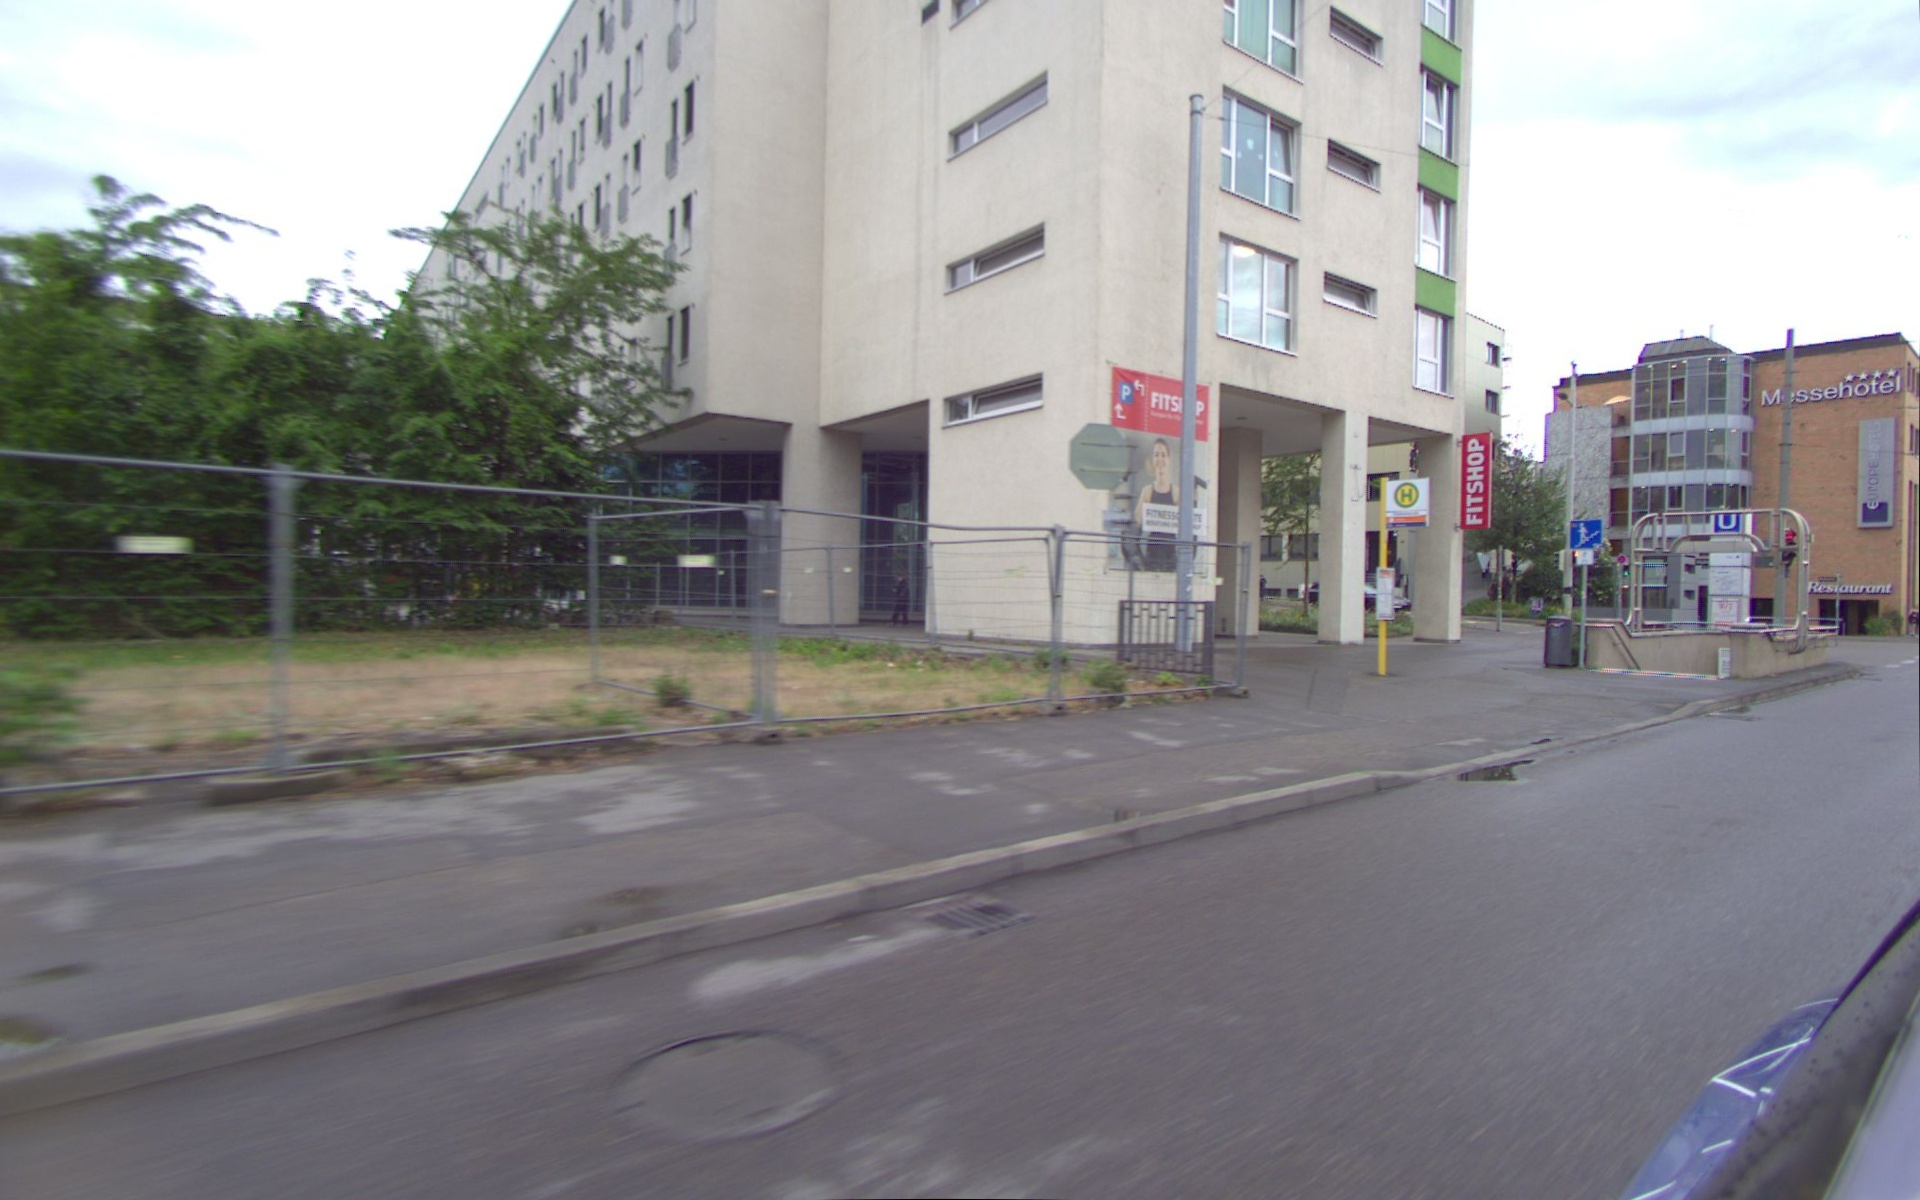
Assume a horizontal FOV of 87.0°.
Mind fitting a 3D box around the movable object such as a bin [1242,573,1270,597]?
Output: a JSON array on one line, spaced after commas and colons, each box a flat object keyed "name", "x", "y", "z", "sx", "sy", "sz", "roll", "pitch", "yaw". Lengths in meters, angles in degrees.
[{"name": "movable object such as a bin", "x": 18.788, "y": -0.964, "z": 64.183, "sx": 1.038, "sy": 1.462, "sz": 1.358, "roll": -2, "pitch": 5, "yaw": -37}]

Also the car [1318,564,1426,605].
[{"name": "car", "x": 18.311, "y": -0.728, "z": 45.087, "sx": 1.963, "sy": 1.592, "sz": 4.000, "roll": -2, "pitch": 5, "yaw": -37}]
